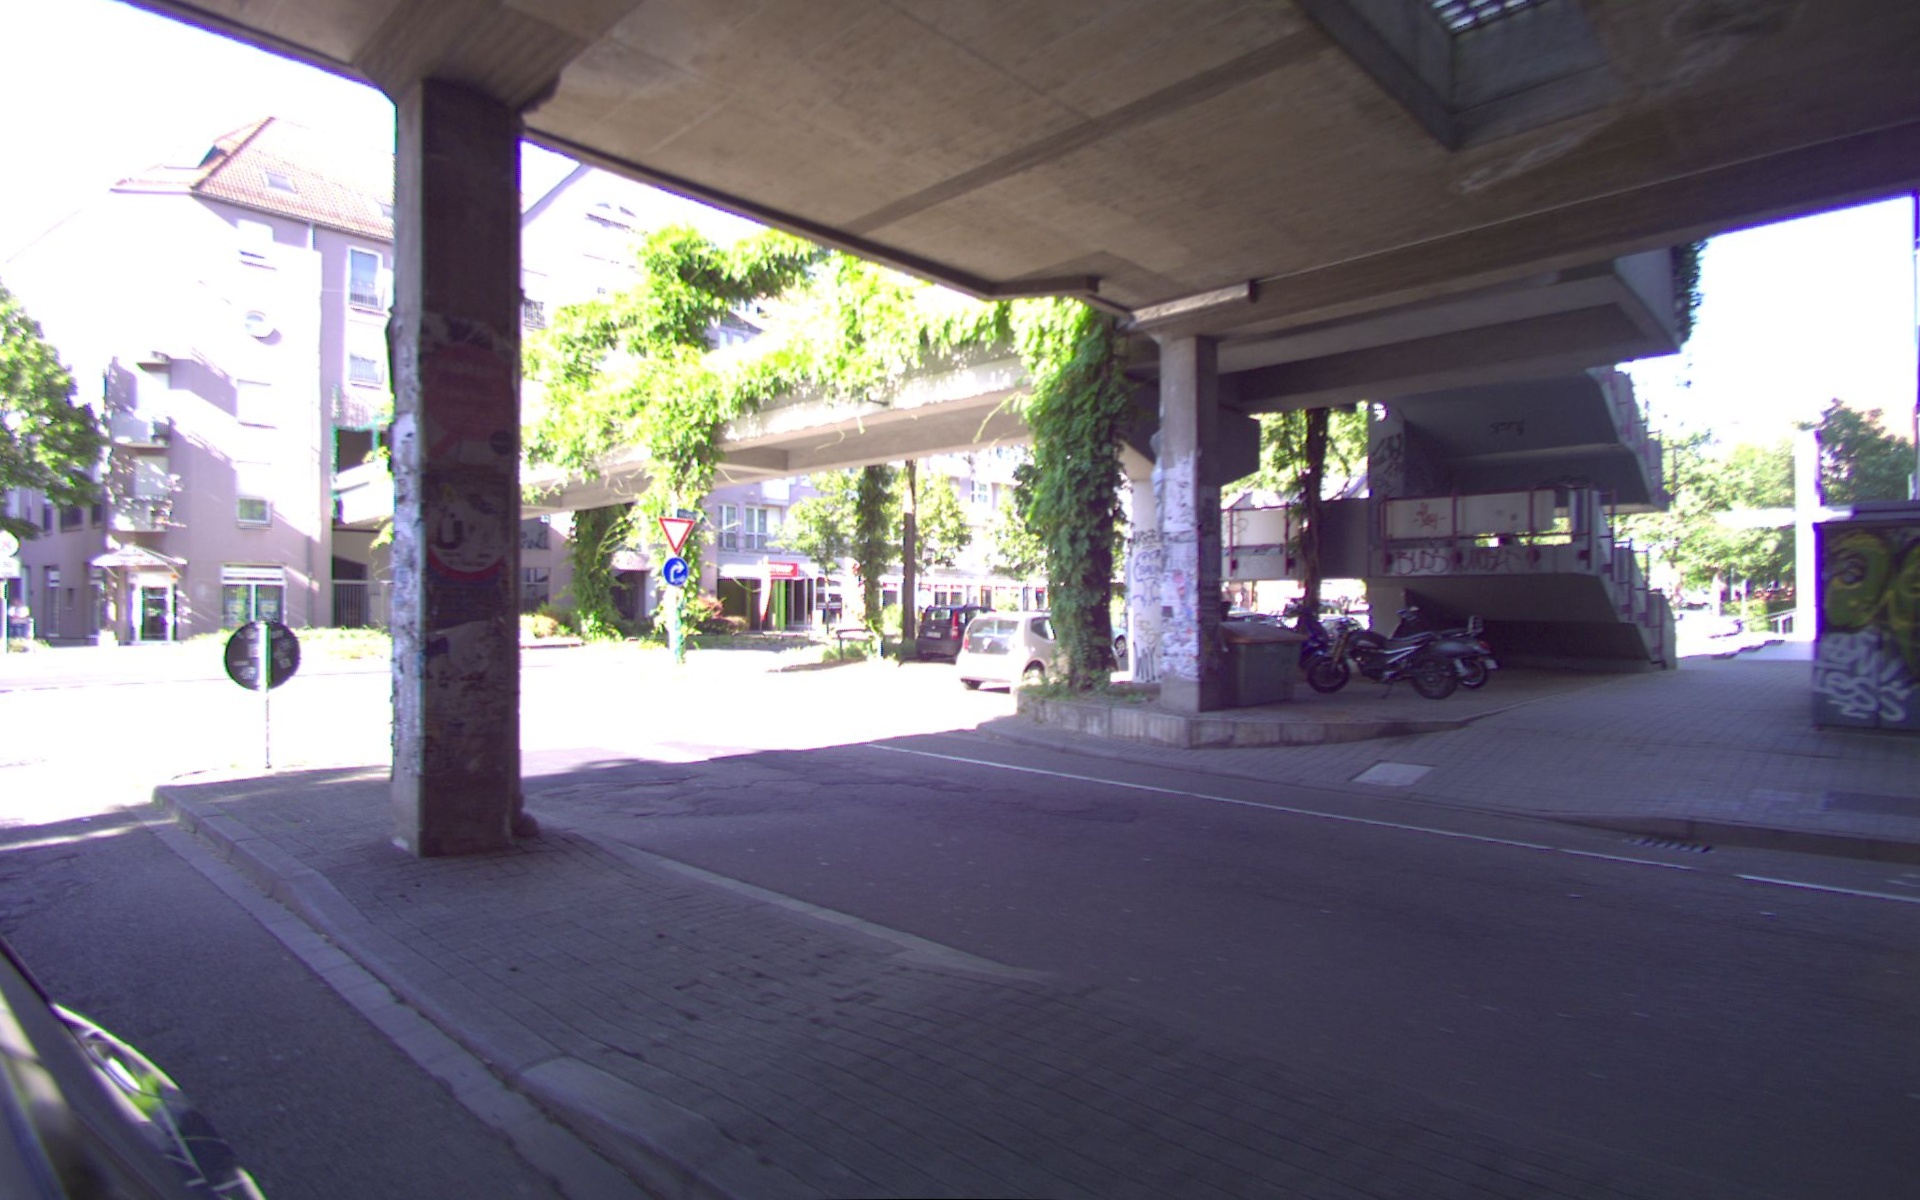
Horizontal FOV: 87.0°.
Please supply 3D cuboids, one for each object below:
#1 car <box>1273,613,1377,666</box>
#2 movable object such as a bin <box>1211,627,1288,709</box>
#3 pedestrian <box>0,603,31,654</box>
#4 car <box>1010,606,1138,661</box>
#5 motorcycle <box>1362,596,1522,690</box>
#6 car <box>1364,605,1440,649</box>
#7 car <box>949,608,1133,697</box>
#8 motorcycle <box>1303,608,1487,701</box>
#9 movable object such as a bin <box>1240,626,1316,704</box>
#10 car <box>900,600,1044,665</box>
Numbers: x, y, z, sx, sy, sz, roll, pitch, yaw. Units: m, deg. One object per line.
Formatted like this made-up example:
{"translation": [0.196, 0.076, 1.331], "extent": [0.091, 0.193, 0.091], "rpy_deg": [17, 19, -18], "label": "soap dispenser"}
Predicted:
{"translation": [10.726, 1.102, 29.608], "extent": [1.685, 1.414, 3.750], "rpy_deg": [0, 0, 40], "label": "car"}
{"translation": [3.438, 0.790, 12.016], "extent": [0.641, 0.912, 0.709], "rpy_deg": [-1, -1, 41], "label": "movable object such as a bin"}
{"translation": [-29.705, 0.888, 31.764], "extent": [0.623, 1.588, 0.533], "rpy_deg": [0, -1, -22], "label": "pedestrian"}
{"translation": [3.476, 0.949, 30.342], "extent": [1.658, 1.459, 4.223], "rpy_deg": [4, 2, 41], "label": "car"}
{"translation": [6.973, 0.593, 14.709], "extent": [1.992, 1.273, 0.671], "rpy_deg": [0, -1, 42], "label": "motorcycle"}
{"translation": [20.016, 1.200, 45.759], "extent": [1.999, 1.897, 4.179], "rpy_deg": [0, -2, 41], "label": "car"}
{"translation": [1.602, 0.915, 19.088], "extent": [1.611, 1.497, 3.597], "rpy_deg": [0, -1, 42], "label": "car"}
{"translation": [5.621, 0.672, 13.193], "extent": [2.149, 1.119, 0.521], "rpy_deg": [0, -1, 40], "label": "motorcycle"}
{"translation": [3.953, 0.790, 12.581], "extent": [0.641, 0.912, 0.777], "rpy_deg": [-1, -1, 41], "label": "movable object such as a bin"}
{"translation": [0.376, 0.810, 27.000], "extent": [1.746, 1.550, 3.725], "rpy_deg": [3, 1, 43], "label": "car"}
